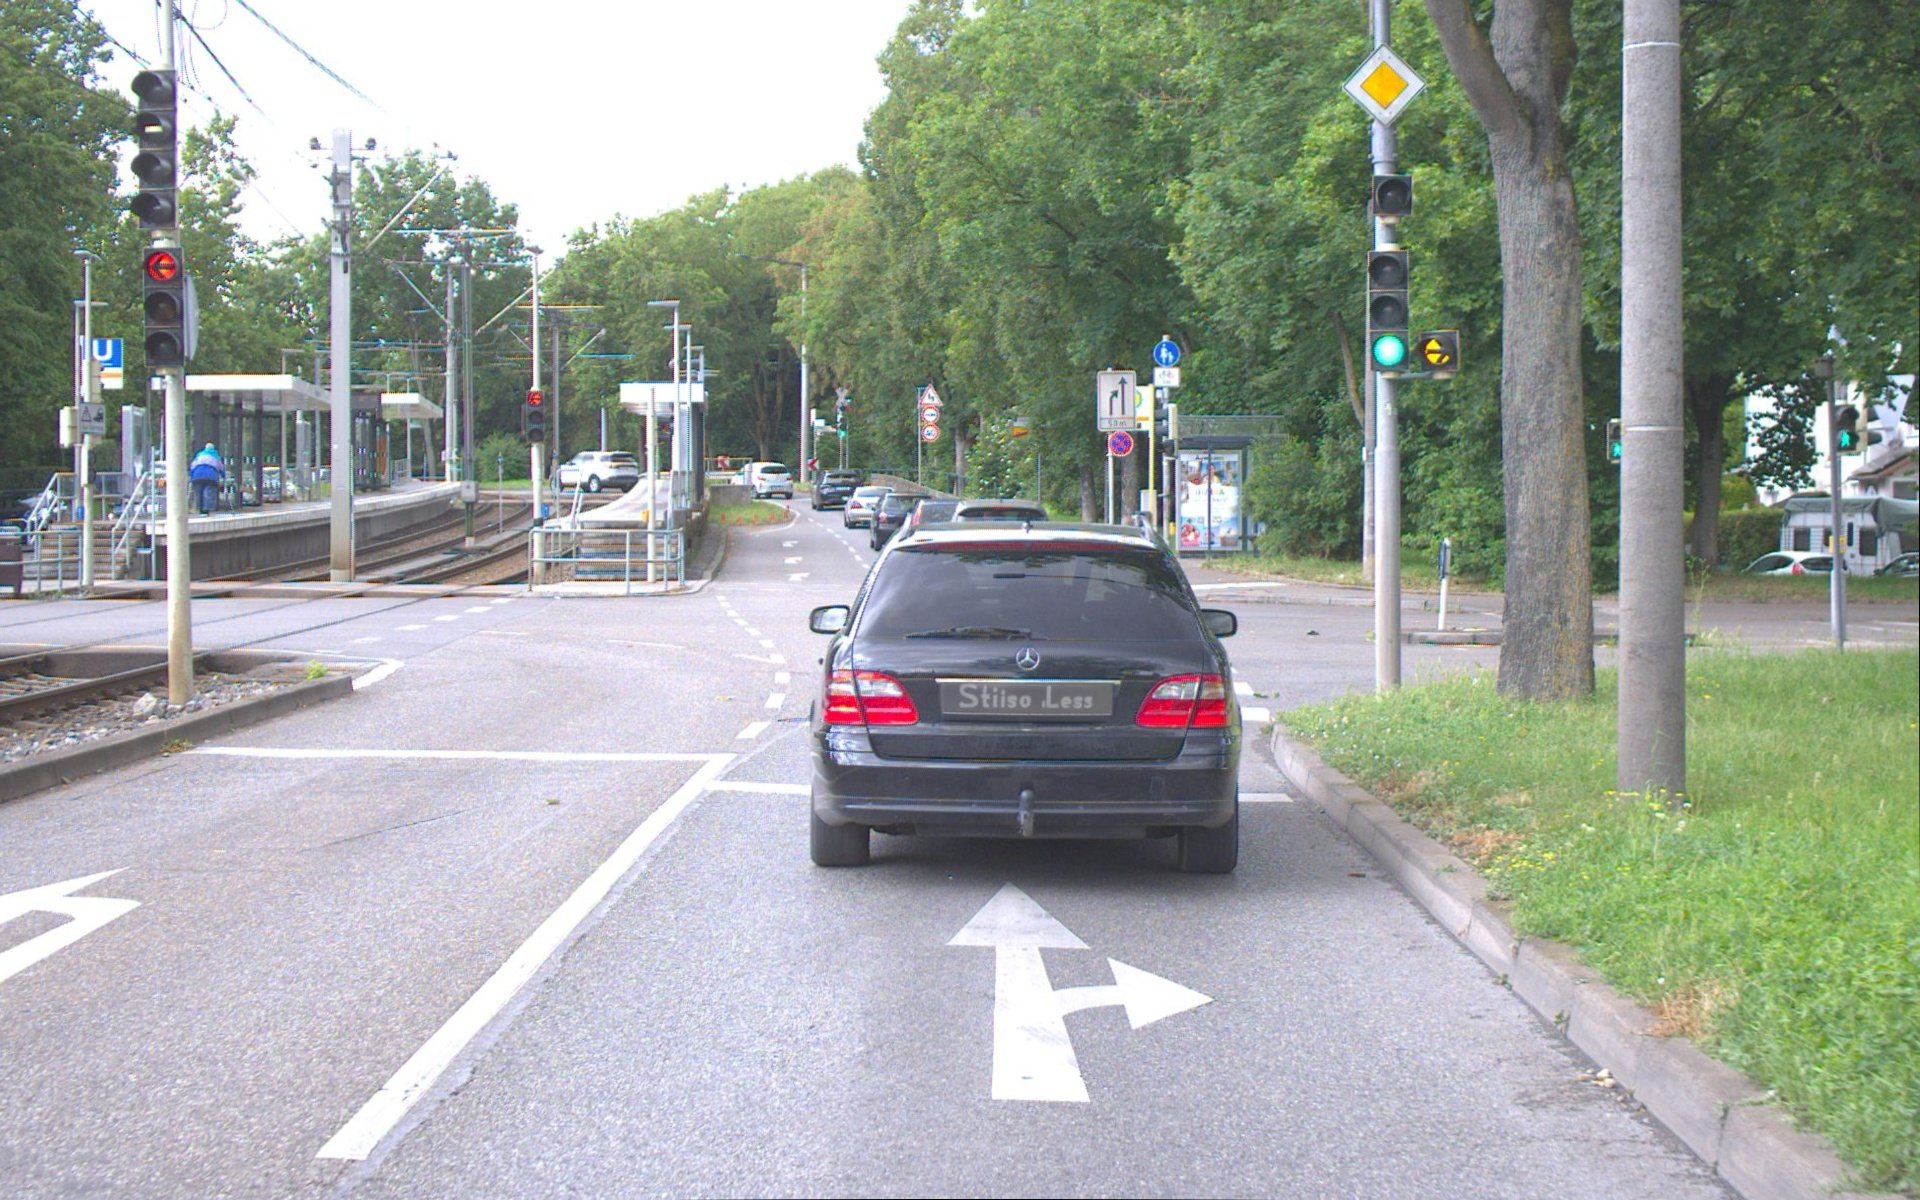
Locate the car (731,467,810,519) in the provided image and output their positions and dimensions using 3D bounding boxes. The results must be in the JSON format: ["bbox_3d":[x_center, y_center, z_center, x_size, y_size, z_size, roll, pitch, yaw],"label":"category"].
[{"bbox_3d":[-7.848,-4.407,141.916,1.993,2.007,4.001,2,1,-22],"label":"car"}]

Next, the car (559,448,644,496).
[{"bbox_3d":[-16.023,-5.716,153.511,1.994,2.007,4.000,2,1,-35],"label":"car"}]

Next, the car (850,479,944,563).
[{"bbox_3d":[-1.547,-1.905,83.218,1.993,1.911,4.001,2,1,-4],"label":"car"}]

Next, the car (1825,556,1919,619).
[{"bbox_3d":[19.970,-0.260,72.637,1.621,1.242,3.859,2,1,-14],"label":"car"}]

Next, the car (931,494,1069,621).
[{"bbox_3d":[0.600,-0.596,48.459,1.782,1.642,4.000,2,1,2],"label":"car"}]

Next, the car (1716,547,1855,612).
[{"bbox_3d":[18.992,-0.490,79.264,1.478,1.381,3.841,2,1,-14],"label":"car"}]

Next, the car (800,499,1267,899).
[{"bbox_3d":[0.192,0.350,15.305,1.781,1.520,4.001,1,1,-3],"label":"car"}]

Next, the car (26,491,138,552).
[{"bbox_3d":[-22.017,-1.970,86.367,1.993,1.477,4.507,0,1,-5],"label":"car"}]

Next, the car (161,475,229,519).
[{"bbox_3d":[-26.434,-3.550,118.945,1.685,1.441,4.001,-2,1,-4],"label":"car"}]

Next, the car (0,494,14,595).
[{"bbox_3d":[-18.365,-1.024,62.033,1.697,1.854,4.001,2,1,-4],"label":"car"}]

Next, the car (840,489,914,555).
[{"bbox_3d":[-2.550,-2.370,104.782,1.993,1.886,4.001,2,1,-4],"label":"car"}]

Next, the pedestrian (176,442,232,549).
[{"bbox_3d":[-15.582,-2.158,70.887,0.969,2.178,0.976,0,1,-2],"label":"pedestrian"}]

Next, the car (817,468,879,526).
[{"bbox_3d":[-4.092,-3.729,125.049,1.993,1.960,4.001,2,1,-4],"label":"car"}]

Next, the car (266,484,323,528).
[{"bbox_3d":[-27.533,-3.886,142.339,1.710,1.745,4.400,-1,1,-4],"label":"car"}]

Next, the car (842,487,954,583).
[{"bbox_3d":[-1.100,-1.185,63.142,1.782,1.642,4.000,2,1,2],"label":"car"}]
